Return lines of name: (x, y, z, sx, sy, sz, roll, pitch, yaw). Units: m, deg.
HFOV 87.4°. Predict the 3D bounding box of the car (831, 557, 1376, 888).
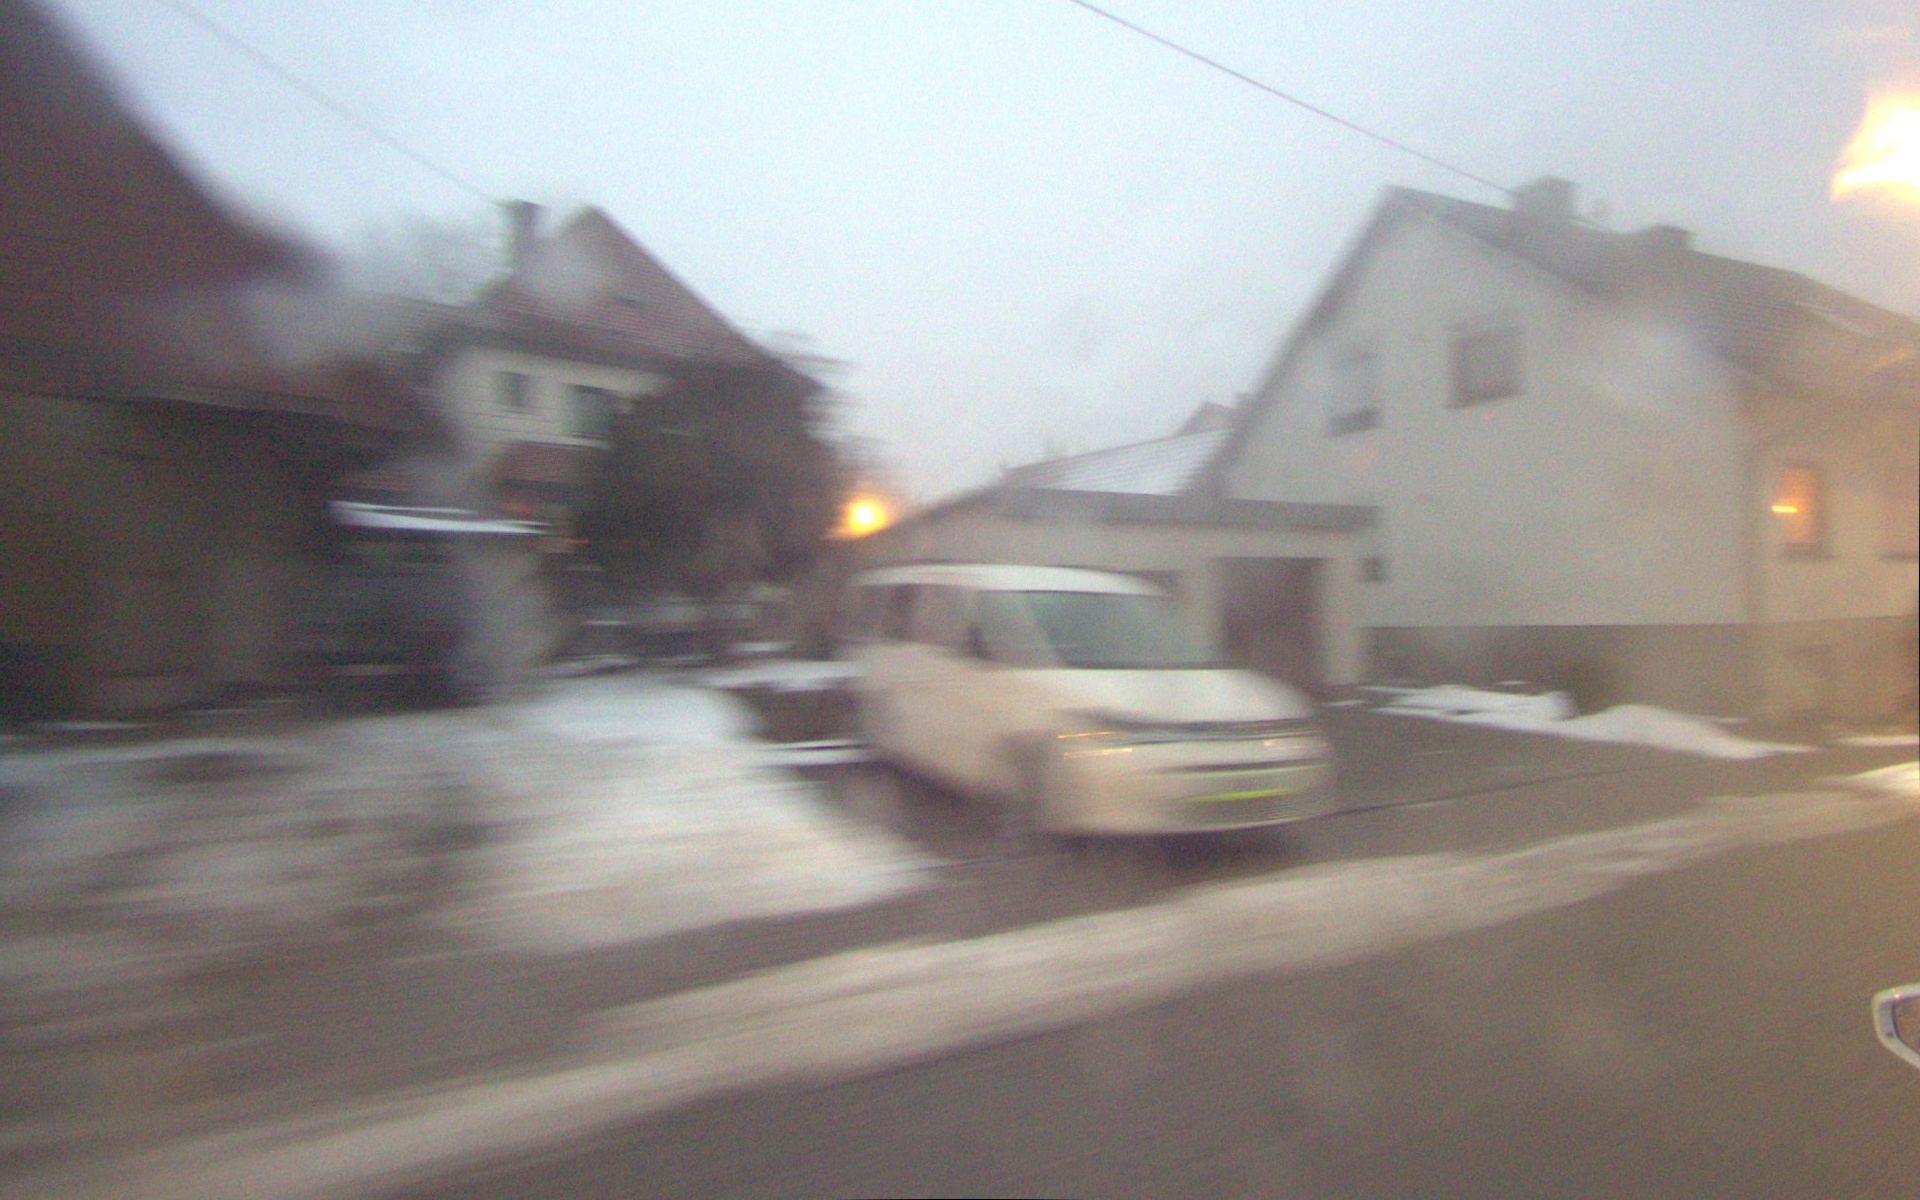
car: (0.606, 0.564, 7.684, 1.864, 1.689, 4.778, 0, 2, -24)
